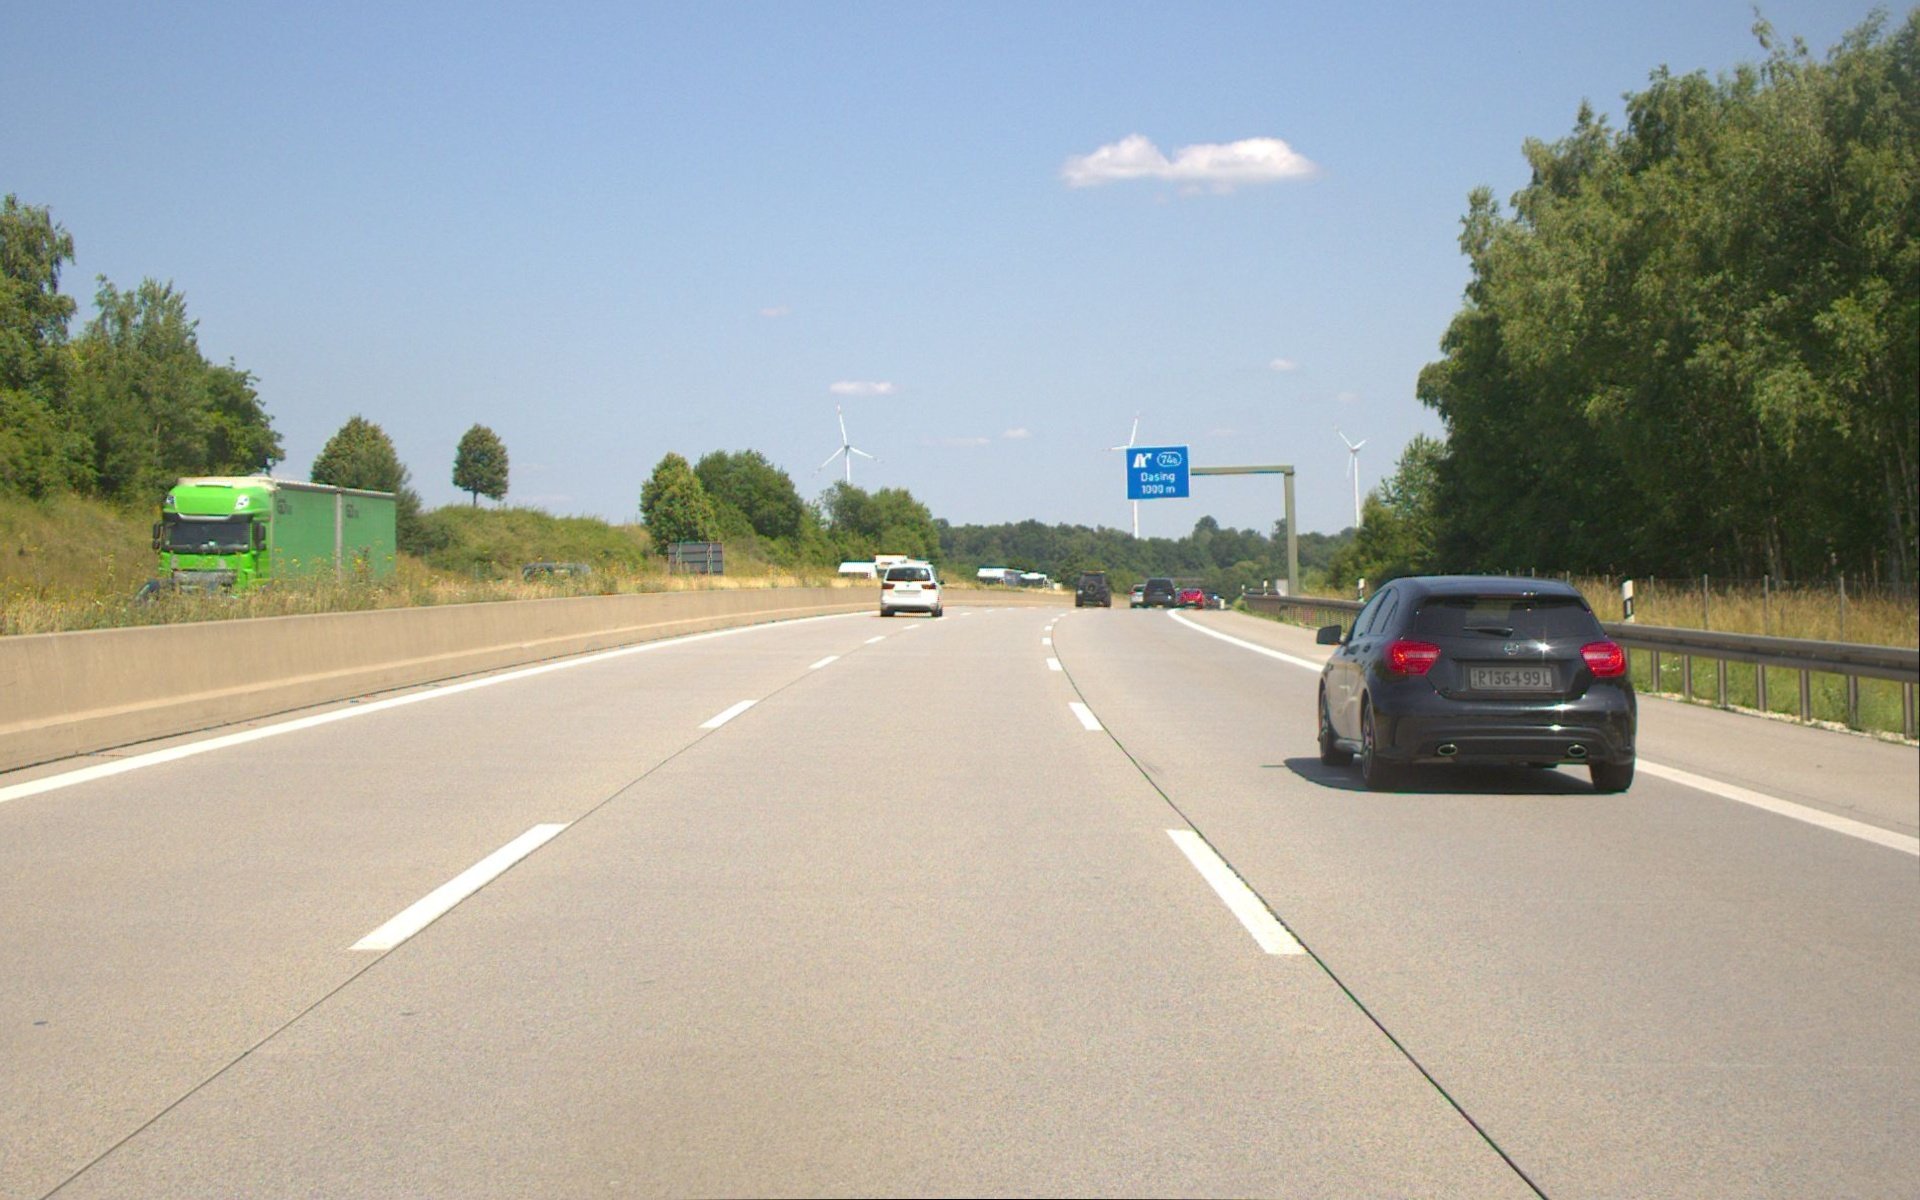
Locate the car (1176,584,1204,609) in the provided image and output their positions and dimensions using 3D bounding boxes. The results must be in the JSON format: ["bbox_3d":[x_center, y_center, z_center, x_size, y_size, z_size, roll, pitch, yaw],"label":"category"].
[{"bbox_3d":[16.942,-0.273,253.323,1.788,1.804,3.746,0,1,0],"label":"car"}]

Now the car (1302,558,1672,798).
[{"bbox_3d":[3.596,0.475,24.206,1.910,1.487,4.192,1,1,0],"label":"car"}]

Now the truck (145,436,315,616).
[{"bbox_3d":[-19.470,-1.948,92.036,3.090,4.646,6.265,0,0,1],"label":"truck"}]

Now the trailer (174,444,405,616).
[{"bbox_3d":[-19.279,-1.984,100.253,3.157,4.592,16.437,0,1,1],"label":"trailer"}]

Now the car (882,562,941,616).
[{"bbox_3d":[-1.550,-0.372,111.175,1.845,1.702,6.036,0,0,-1],"label":"car"}]

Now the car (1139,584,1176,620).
[{"bbox_3d":[10.740,0.080,187.340,1.827,1.900,4.000,0,1,1],"label":"car"}]

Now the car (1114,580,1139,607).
[{"bbox_3d":[12.606,-0.508,260.121,1.744,1.983,4.000,0,1,1],"label":"car"}]
